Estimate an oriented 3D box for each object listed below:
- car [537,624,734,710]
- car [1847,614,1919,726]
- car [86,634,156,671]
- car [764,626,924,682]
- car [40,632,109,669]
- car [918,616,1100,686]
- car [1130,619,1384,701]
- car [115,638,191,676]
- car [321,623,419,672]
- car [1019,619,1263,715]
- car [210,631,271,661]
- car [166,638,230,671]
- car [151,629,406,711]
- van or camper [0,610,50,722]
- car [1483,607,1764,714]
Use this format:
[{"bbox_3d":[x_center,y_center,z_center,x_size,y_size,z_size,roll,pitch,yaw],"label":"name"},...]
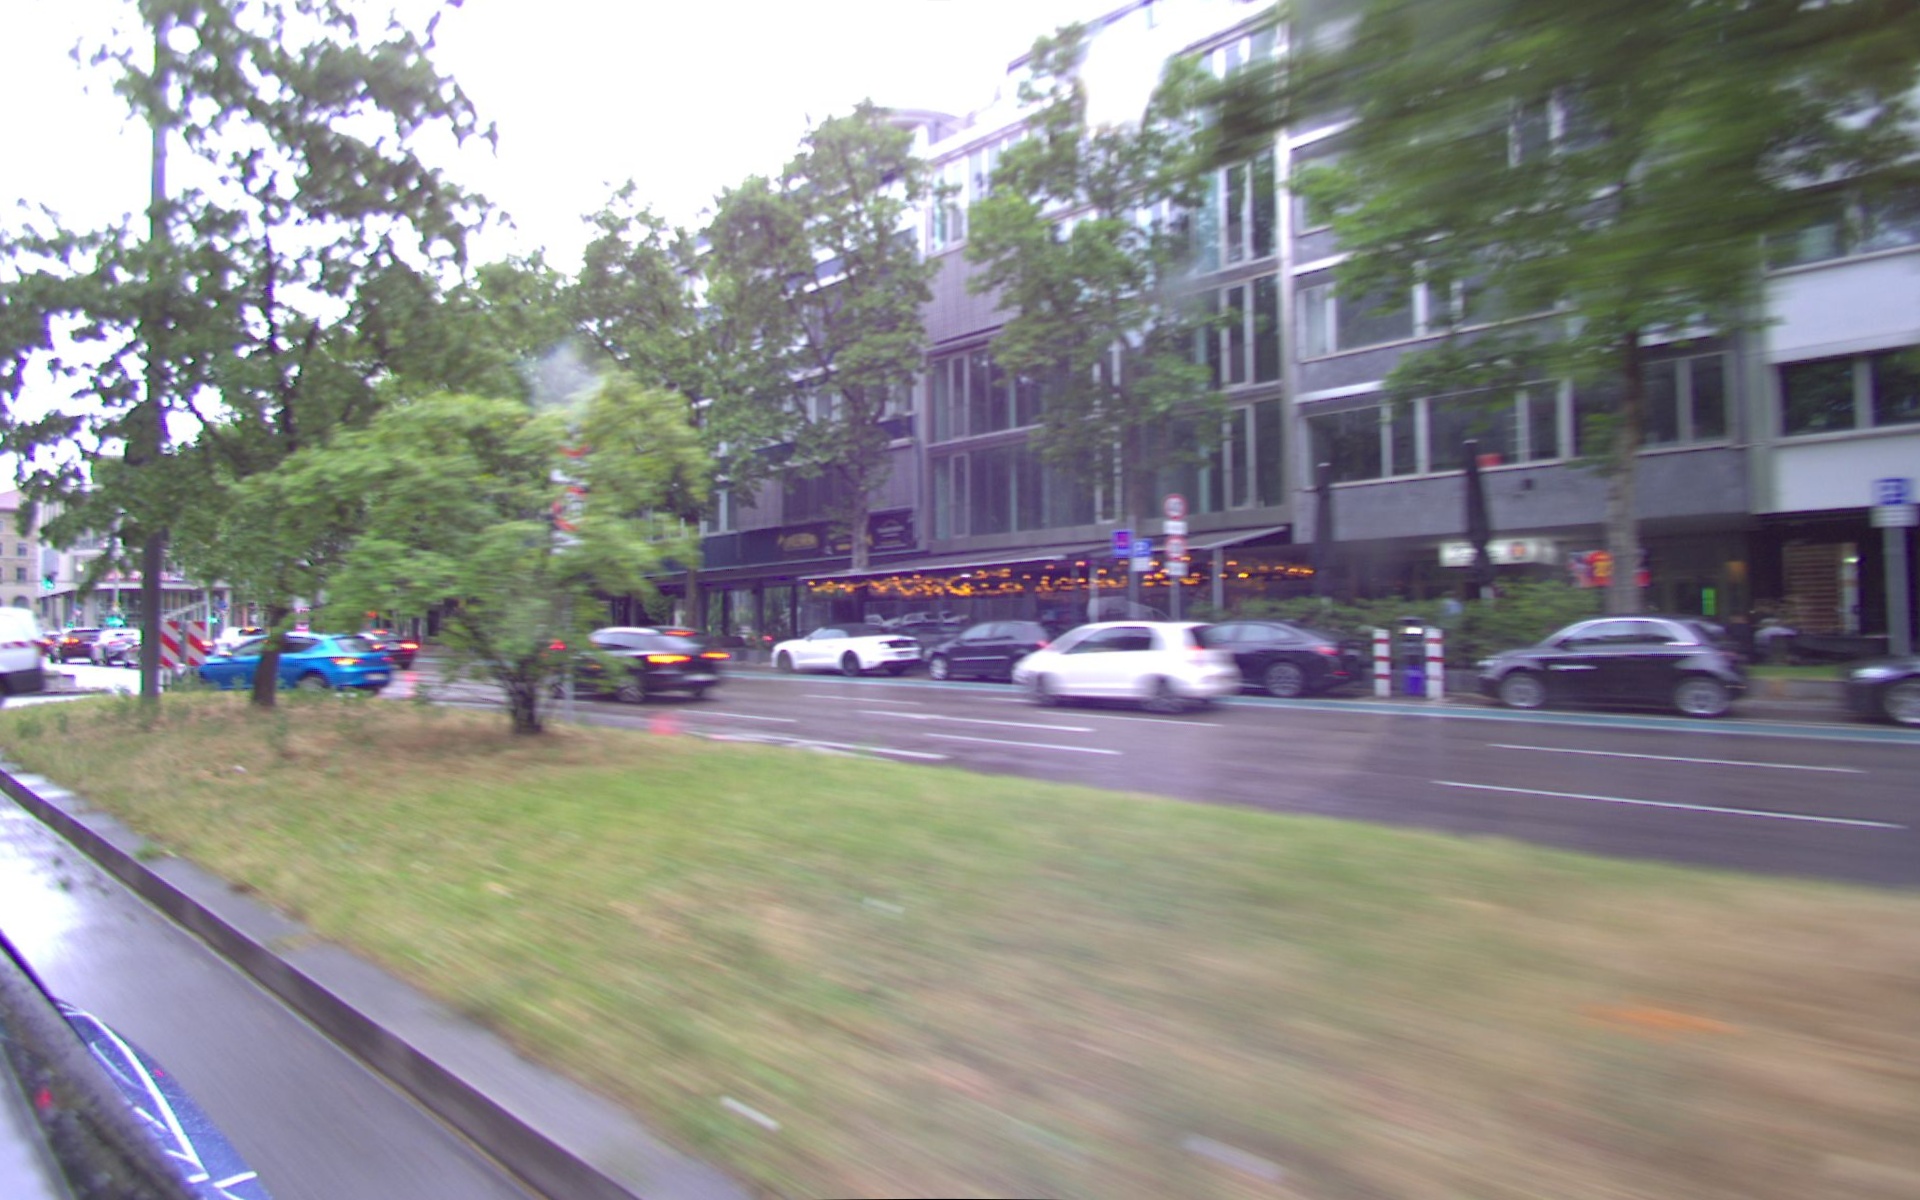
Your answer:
[{"bbox_3d":[-6.523,1.252,20.172,4.090,1.487,1.732,-1,0,38],"label":"car"},{"bbox_3d":[14.141,0.841,12.345,4.900,1.420,1.676,-3,-2,40],"label":"car"},{"bbox_3d":[-38.490,2.407,46.412,4.829,1.585,1.717,-3,-2,41],"label":"car"},{"bbox_3d":[-3.228,1.447,27.446,4.679,1.364,1.543,-3,-2,41],"label":"car"},{"bbox_3d":[-45.214,2.576,51.643,5.102,1.780,1.818,-3,-2,39],"label":"car"},{"bbox_3d":[1.100,1.180,23.847,3.997,1.519,1.818,-3,-2,40],"label":"car"},{"bbox_3d":[5.692,1.132,19.740,4.453,1.420,1.676,-3,-2,40],"label":"car"},{"bbox_3d":[-33.273,2.307,41.713,4.093,1.487,1.731,-2,-3,41],"label":"car"},{"bbox_3d":[-20.849,1.636,35.715,4.094,1.487,1.732,0,2,41],"label":"car"},{"bbox_3d":[2.993,1.081,17.080,3.640,1.440,1.824,-2,-3,40],"label":"car"},{"bbox_3d":[-39.480,2.522,55.530,3.996,1.577,1.735,-2,-3,40],"label":"car"},{"bbox_3d":[-36.866,2.605,48.930,4.569,1.502,1.700,-2,-3,43],"label":"car"},{"bbox_3d":[-14.098,1.433,21.021,4.348,1.493,1.843,-3,-2,11],"label":"car"},{"bbox_3d":[-18.163,1.132,16.079,1.985,1.928,5.215,-2,-2,20],"label":"van or camper"},{"bbox_3d":[10.265,0.909,15.771,3.457,1.480,1.676,-3,-2,40],"label":"car"}]
